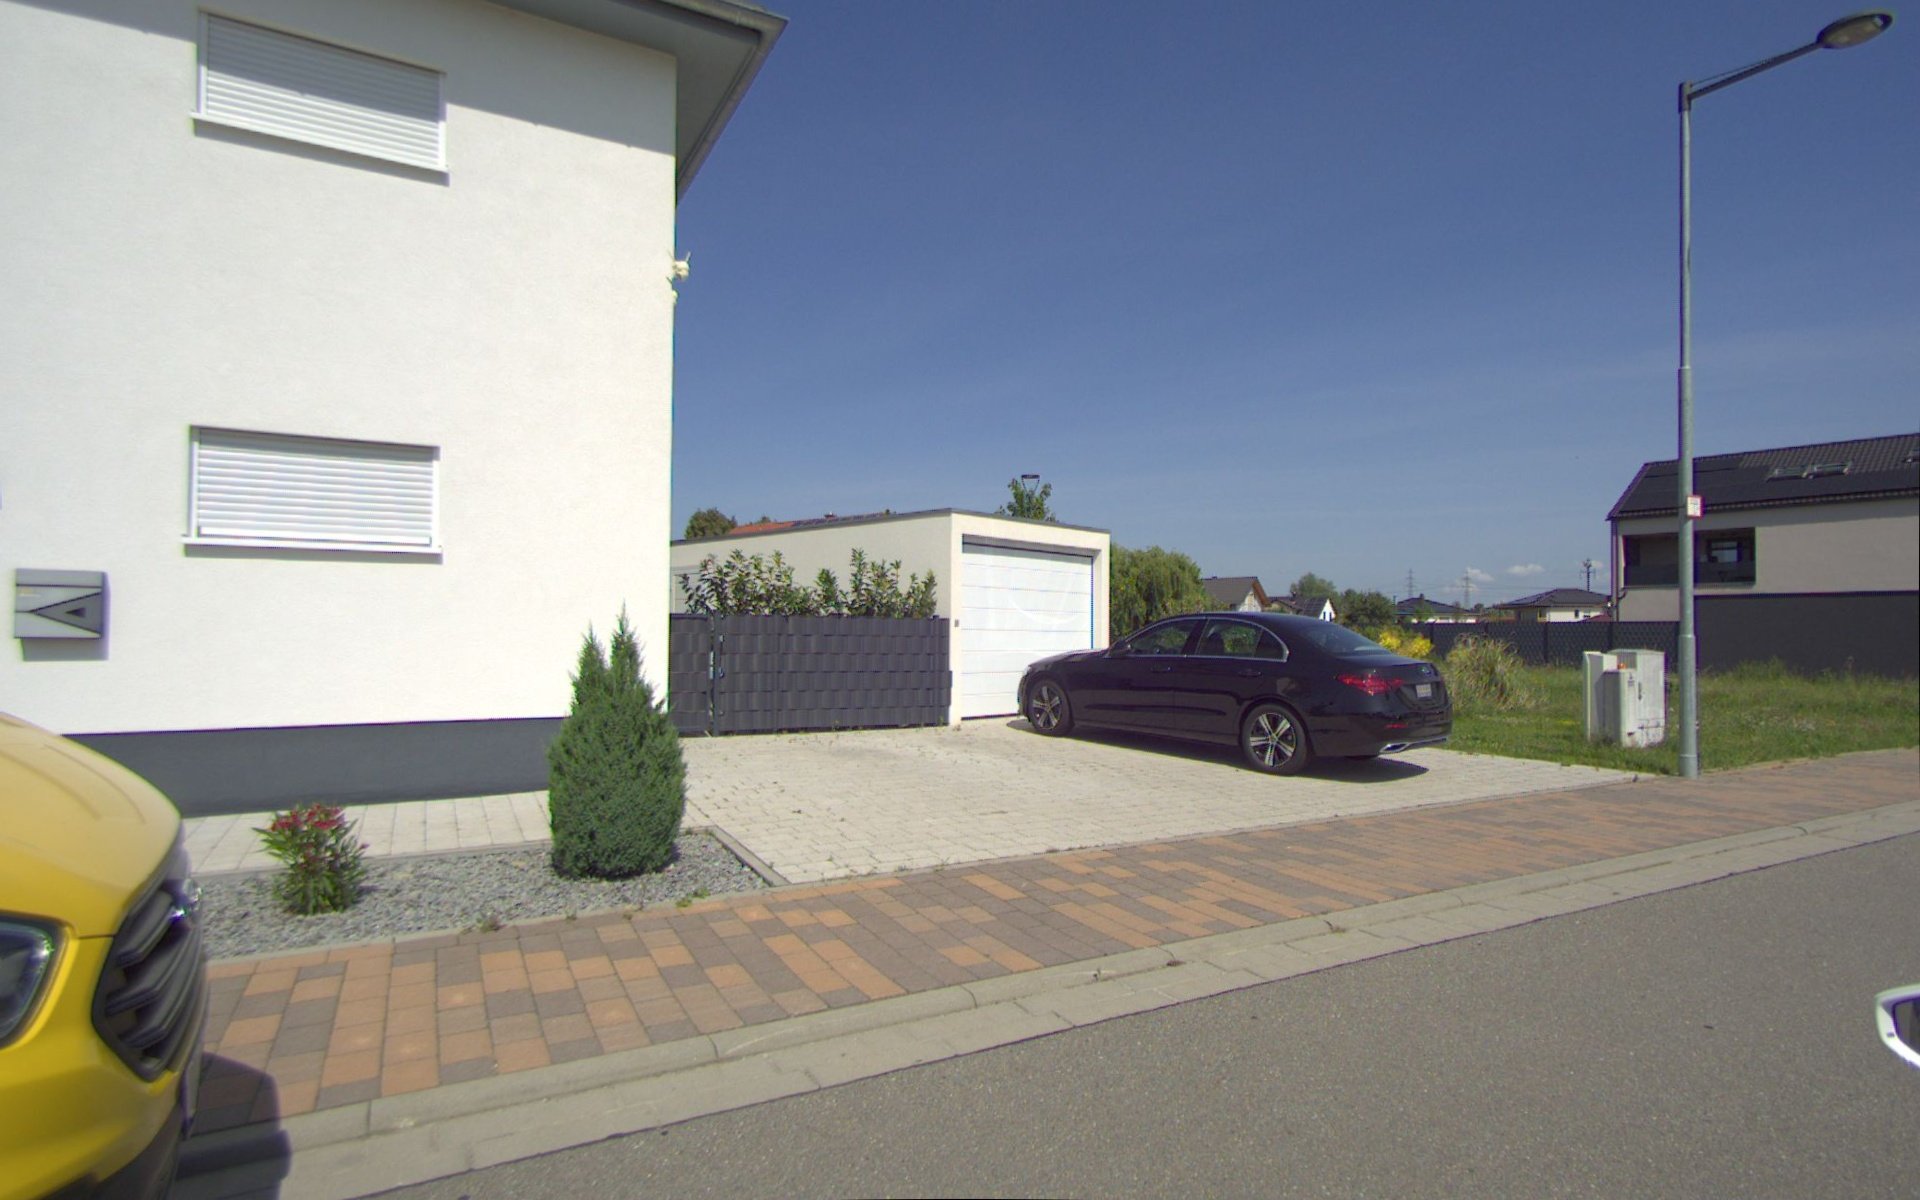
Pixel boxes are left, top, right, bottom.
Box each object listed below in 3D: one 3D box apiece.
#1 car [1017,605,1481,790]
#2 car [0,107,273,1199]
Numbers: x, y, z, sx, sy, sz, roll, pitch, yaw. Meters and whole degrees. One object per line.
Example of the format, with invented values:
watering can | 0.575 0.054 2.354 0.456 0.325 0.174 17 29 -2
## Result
car | 2.739 0.819 10.351 1.736 1.471 4.353 2 -1 -42
car | -3.428 0.412 0.695 4.791 2.040 1.872 2 -1 -34
